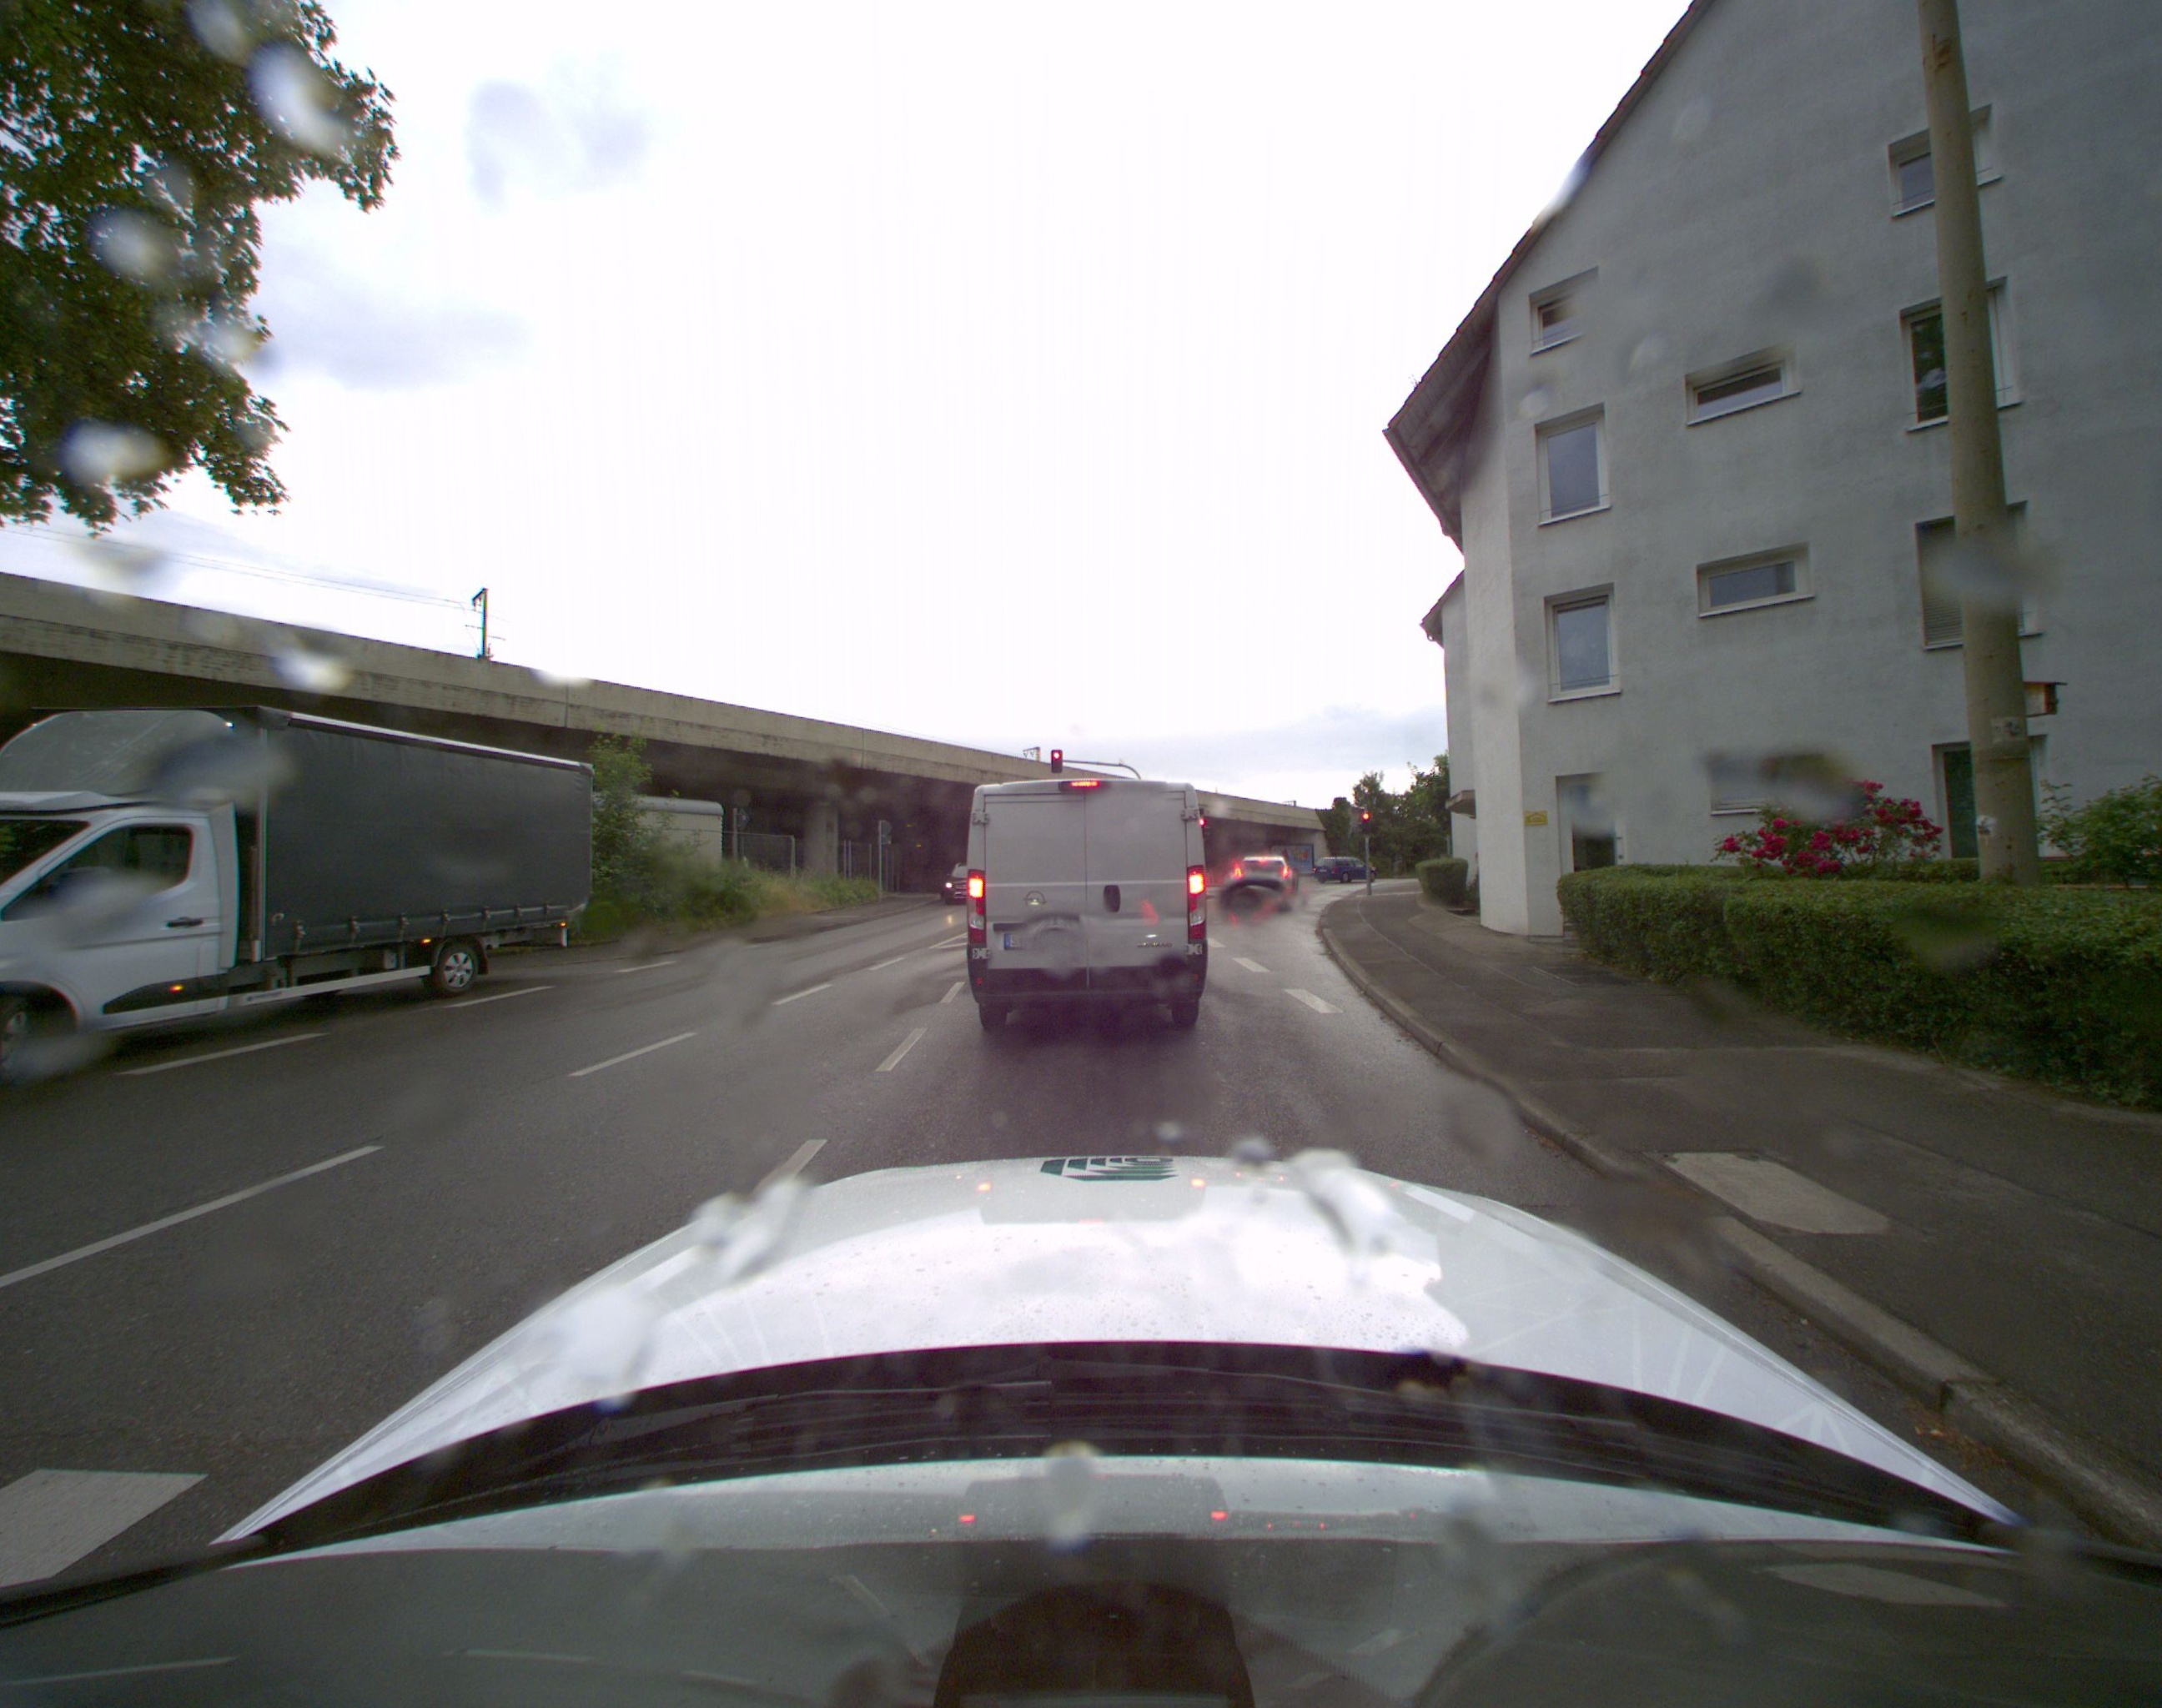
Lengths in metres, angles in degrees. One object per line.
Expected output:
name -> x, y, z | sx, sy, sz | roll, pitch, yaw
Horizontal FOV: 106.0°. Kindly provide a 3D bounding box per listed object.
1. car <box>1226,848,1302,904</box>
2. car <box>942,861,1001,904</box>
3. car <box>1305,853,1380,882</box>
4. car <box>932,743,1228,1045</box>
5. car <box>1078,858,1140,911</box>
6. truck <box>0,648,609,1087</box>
car -> 5.756, 0.689, 25.246 | 1.978, 1.549, 4.017 | -2, -2, 17
car -> -4.435, 1.121, 33.589 | 1.910, 1.626, 4.430 | -1, -1, -2
car -> 14.772, 0.758, 45.931 | 4.016, 1.519, 1.978 | 0, -2, -35
car -> 0.098, 0.391, 9.222 | 2.296, 2.343, 5.284 | -2, -2, 2
car -> 1.079, 1.066, 28.894 | 1.984, 1.729, 4.004 | -1, -2, 5
truck -> -9.080, 0.179, 9.177 | 2.599, 3.237, 7.782 | -1, -1, 3
